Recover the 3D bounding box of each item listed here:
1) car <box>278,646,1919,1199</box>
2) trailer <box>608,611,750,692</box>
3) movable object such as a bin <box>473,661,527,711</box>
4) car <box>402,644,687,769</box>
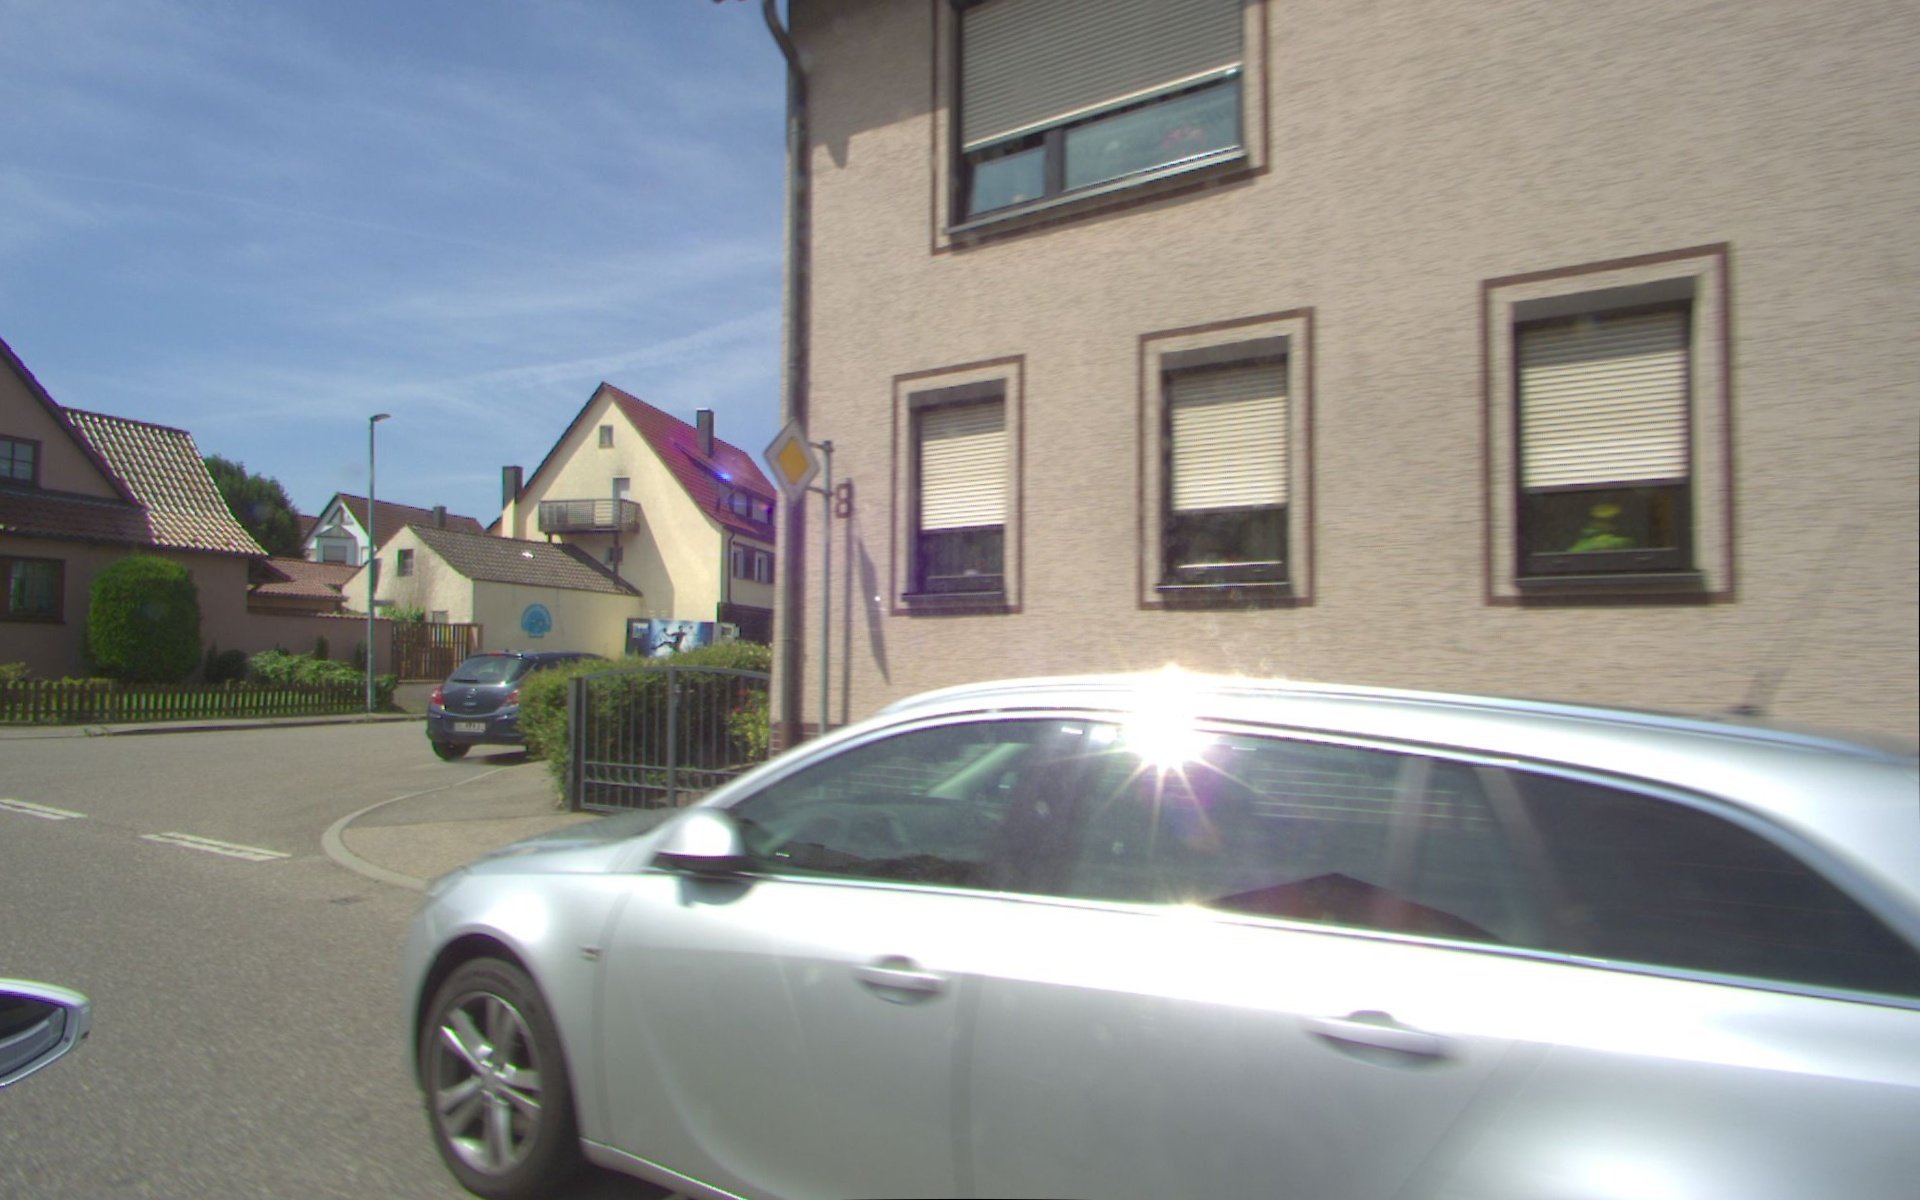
[{"bbox_3d":[0.198,0.941,2.840,4.272,1.459,1.785,0,-4,30],"label":"car"},{"bbox_3d":[-10.573,1.935,37.783,4.677,2.848,2.000,1,-3,13],"label":"trailer"},{"bbox_3d":[-10.748,1.995,23.388,0.993,1.109,0.499,1,-3,9],"label":"movable object such as a bin"},{"bbox_3d":[-5.773,1.453,14.481,1.855,1.506,3.816,1,-3,14],"label":"car"}]
